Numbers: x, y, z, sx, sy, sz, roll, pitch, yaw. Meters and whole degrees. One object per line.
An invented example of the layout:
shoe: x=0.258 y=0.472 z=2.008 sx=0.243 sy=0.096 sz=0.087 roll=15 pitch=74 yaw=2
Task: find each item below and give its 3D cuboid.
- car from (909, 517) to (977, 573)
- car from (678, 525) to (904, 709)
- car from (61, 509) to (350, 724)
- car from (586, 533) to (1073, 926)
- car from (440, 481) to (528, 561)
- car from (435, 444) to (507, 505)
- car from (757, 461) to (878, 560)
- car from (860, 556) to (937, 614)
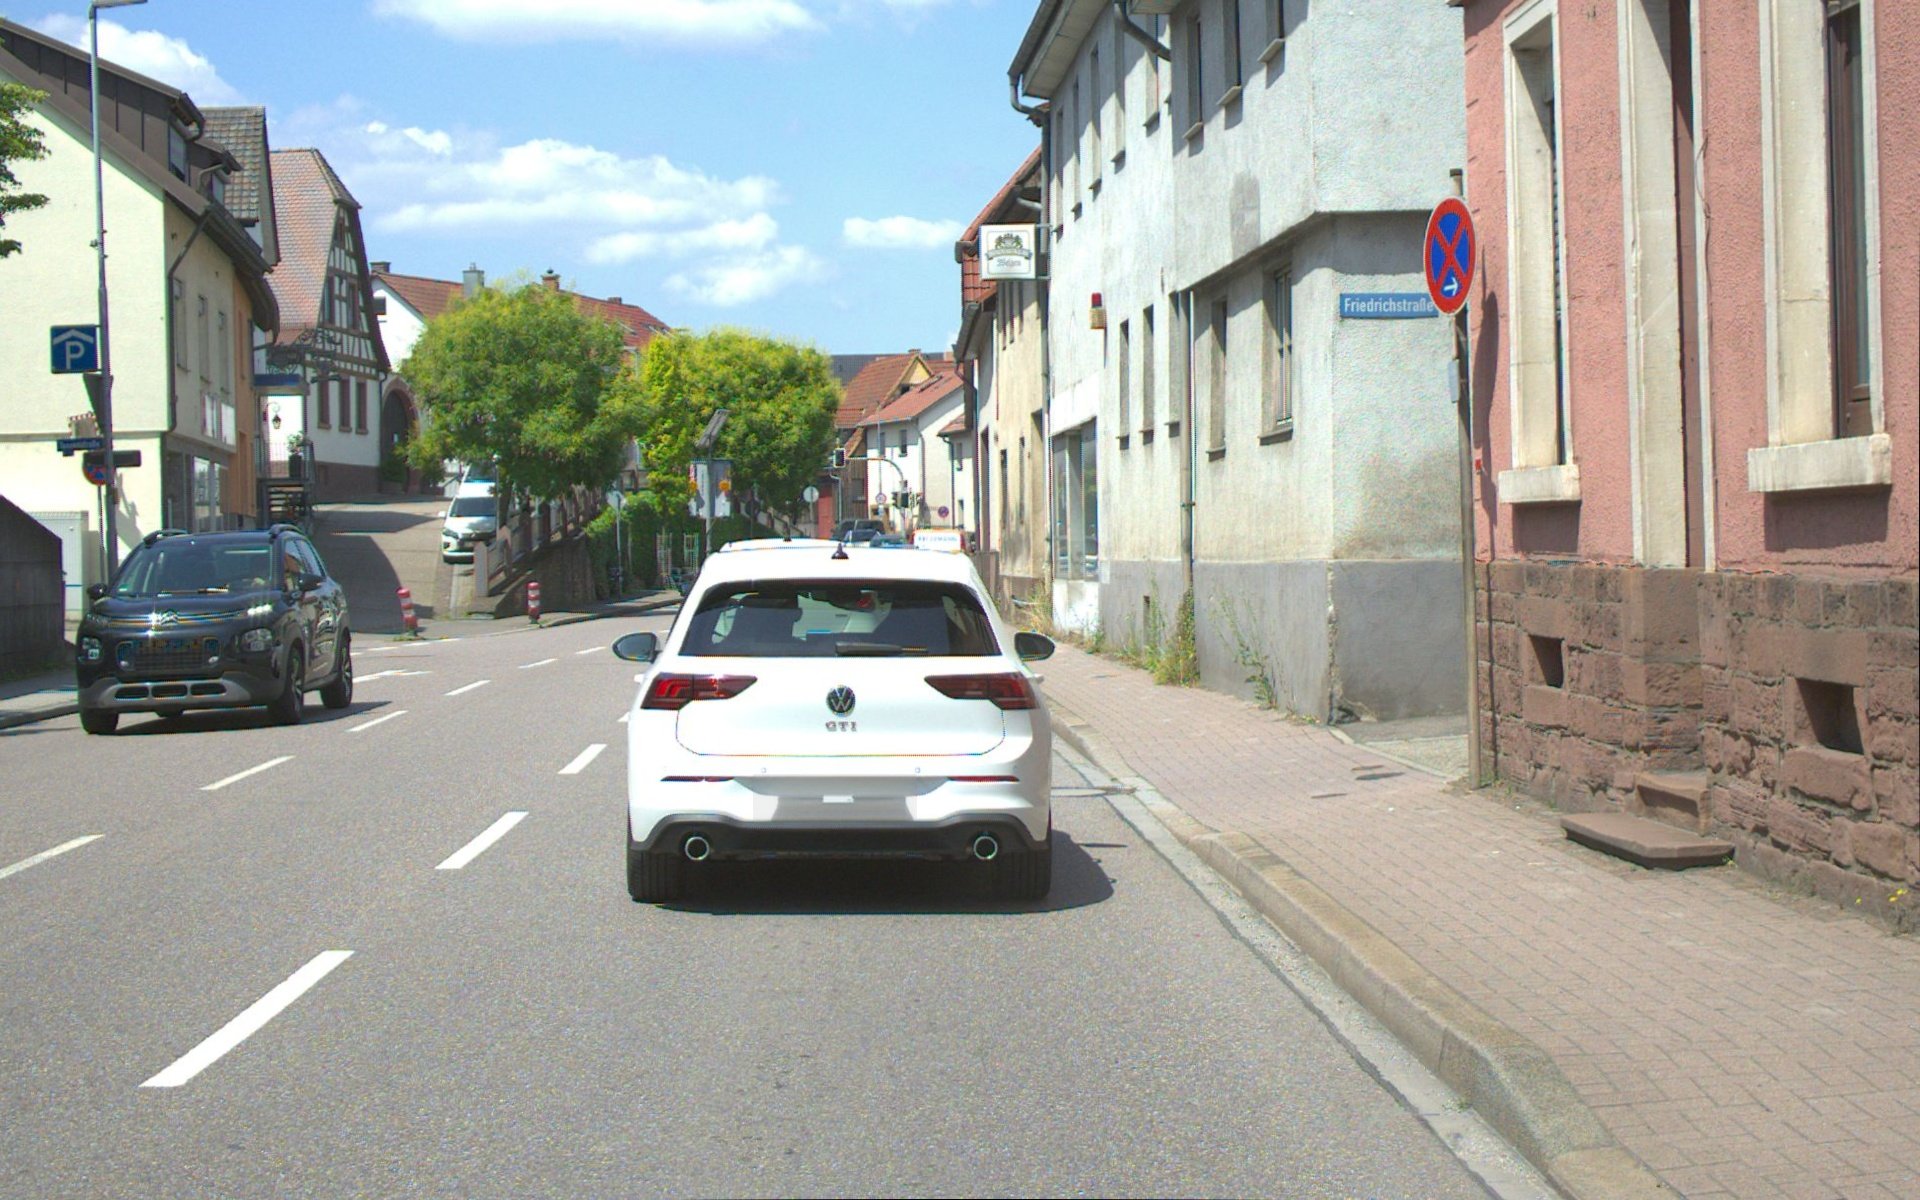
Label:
car: x=-0.524 y=-1.767 z=110.030 sx=1.776 sy=1.759 sz=3.999 roll=0 pitch=1 yaw=6
car: x=-1.515 y=0.113 z=30.118 sx=1.807 sy=1.462 sz=4.001 roll=2 pitch=1 yaw=-4
car: x=-6.238 y=0.093 z=28.831 sx=1.669 sy=1.652 sz=4.018 roll=-1 pitch=1 yaw=-2
car: x=-0.441 y=0.479 z=15.271 sx=1.808 sy=1.462 sz=4.000 roll=2 pitch=1 yaw=2
car: x=-11.167 y=-1.875 z=80.863 sx=1.693 sy=1.537 sz=3.857 roll=0 pitch=7 yaw=-3
car: x=-13.282 y=-3.435 z=93.513 sx=1.576 sy=1.357 sz=3.857 roll=0 pitch=7 yaw=-3
car: x=-2.256 y=-1.390 z=54.503 sx=1.807 sy=1.462 sz=4.000 roll=2 pitch=1 yaw=-2
car: x=-1.664 y=-0.436 z=94.526 sx=1.775 sy=1.533 sz=4.000 roll=0 pitch=1 yaw=4
